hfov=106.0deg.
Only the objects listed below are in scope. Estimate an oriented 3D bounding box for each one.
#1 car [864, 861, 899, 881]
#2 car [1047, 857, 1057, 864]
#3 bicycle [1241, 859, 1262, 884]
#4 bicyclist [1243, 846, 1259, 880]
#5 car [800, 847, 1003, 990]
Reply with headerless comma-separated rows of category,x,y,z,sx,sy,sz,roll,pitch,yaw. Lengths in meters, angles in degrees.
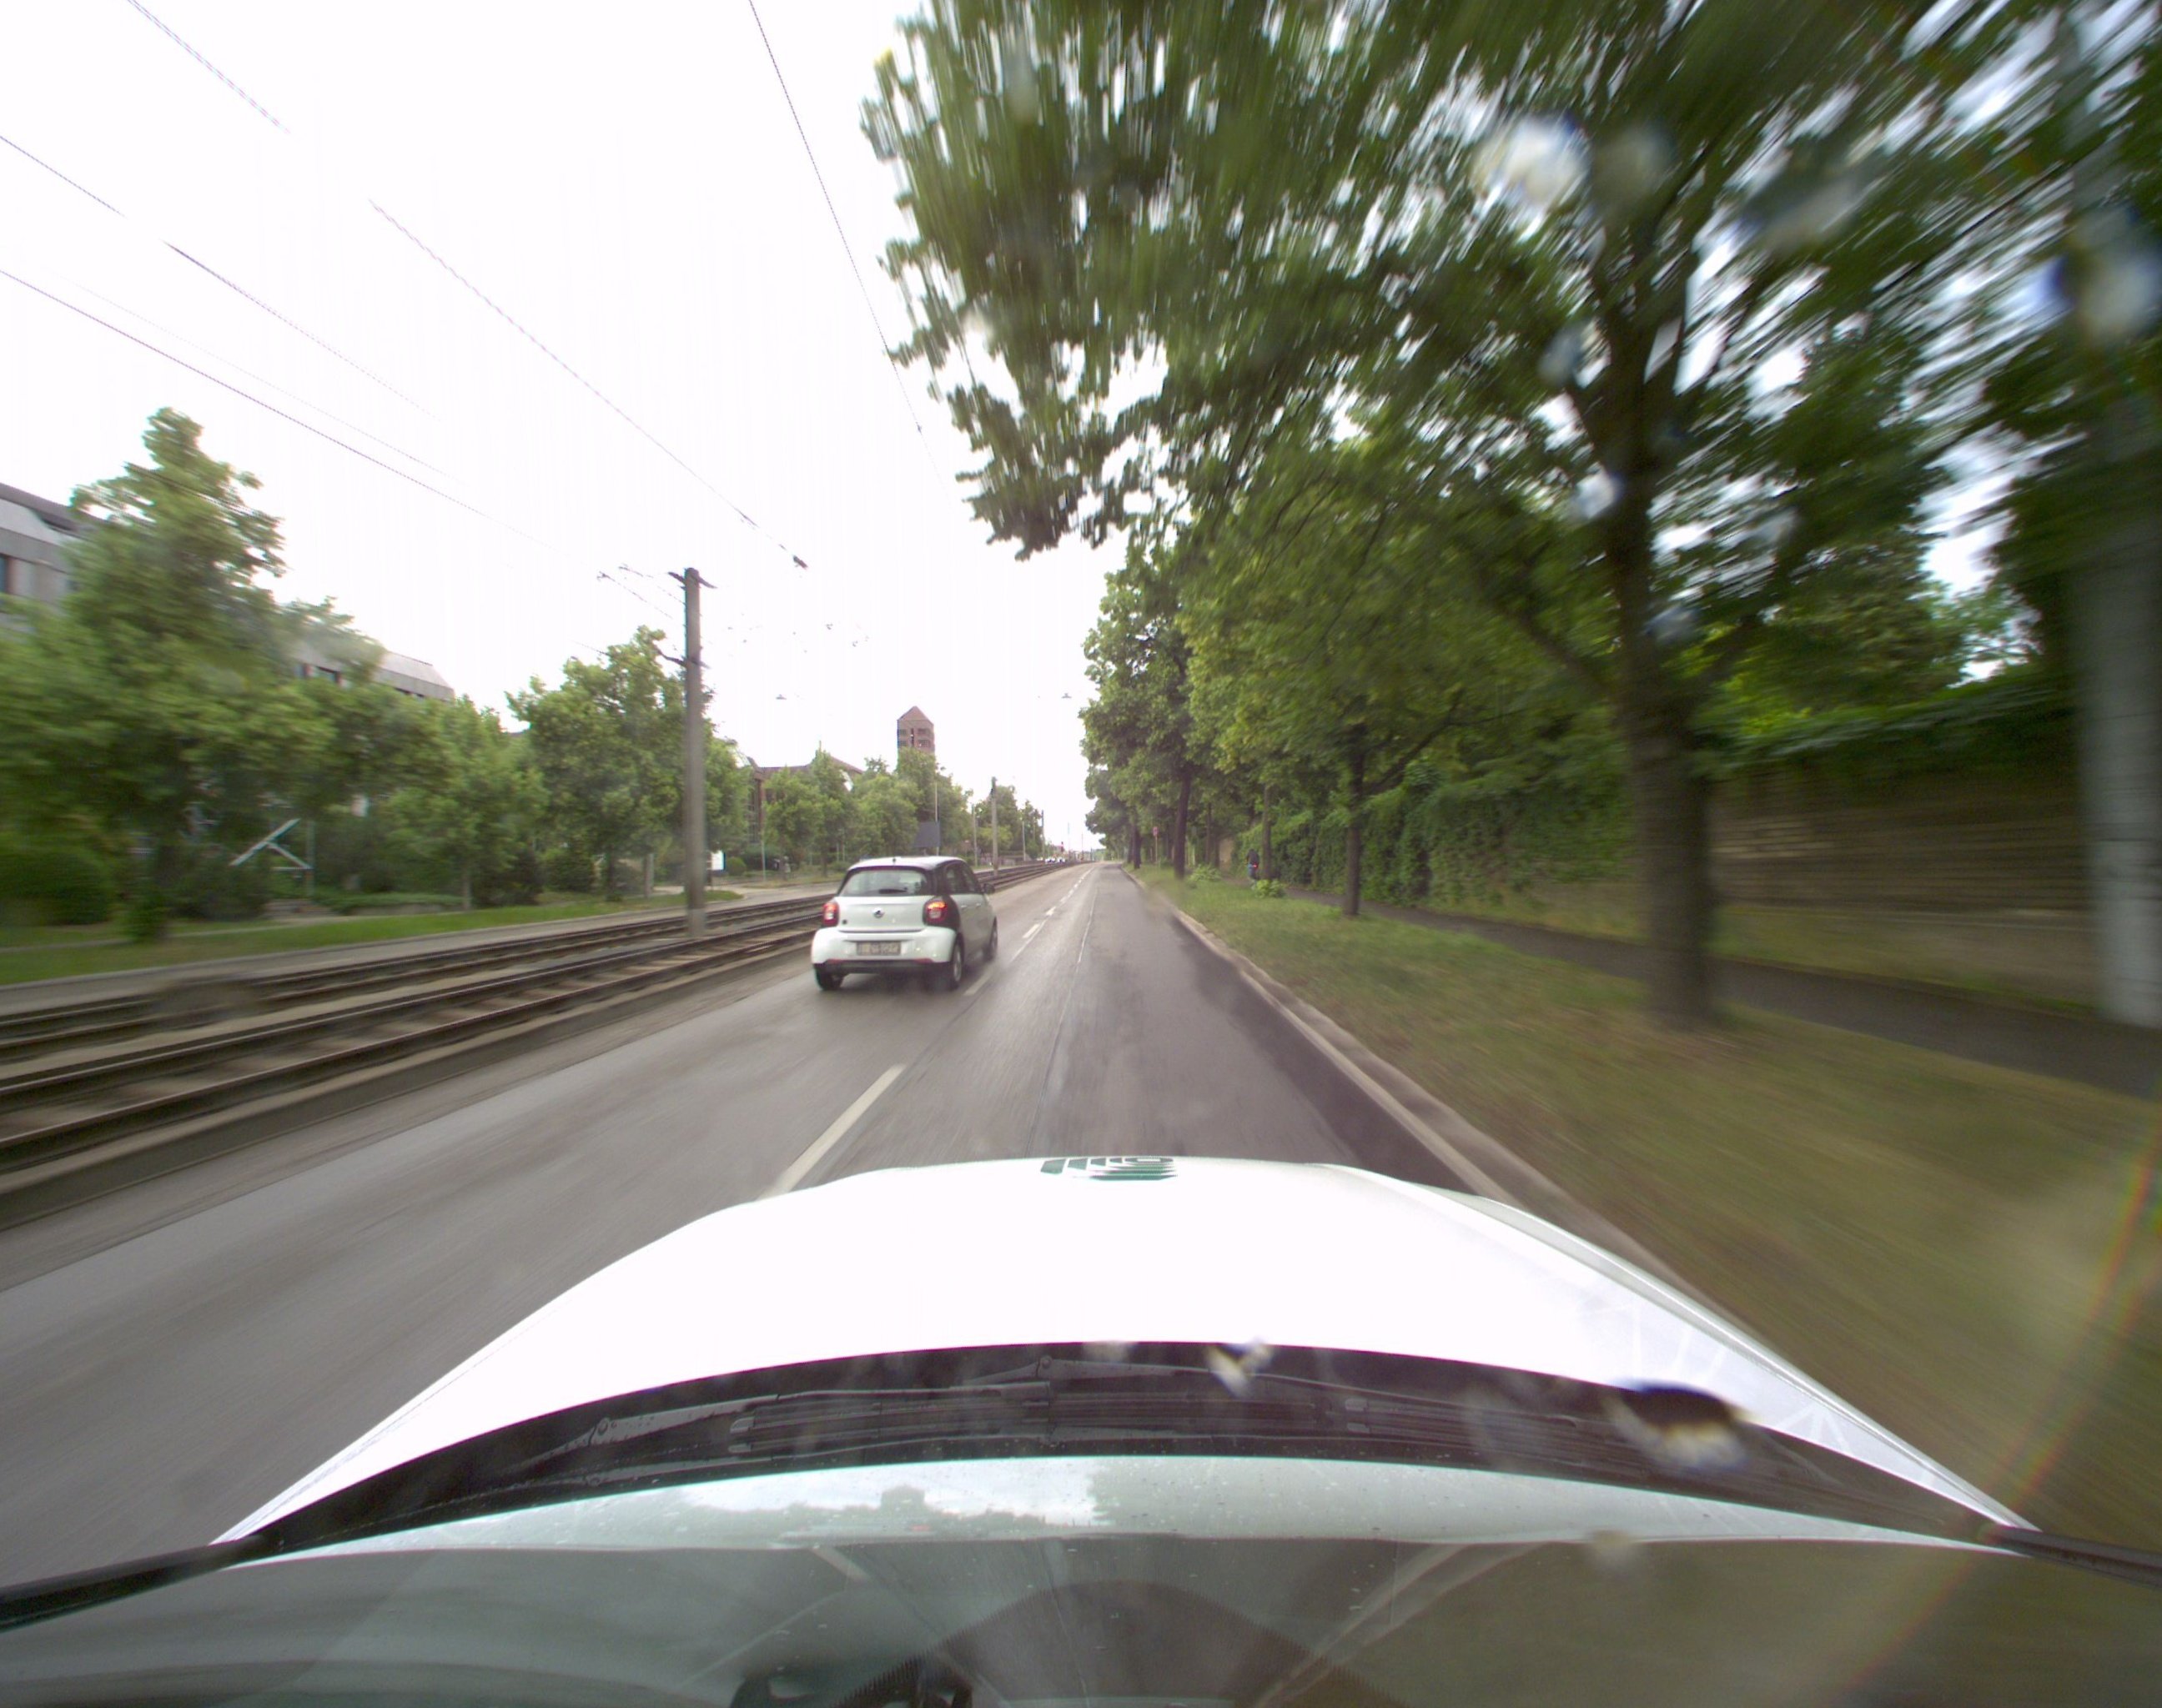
car,-17.117,1.414,70.024,1.788,1.530,4.622,-2,0,0
car,-7.638,1.752,218.290,2.003,1.656,4.624,-2,0,6
bicycle,7.091,0.705,33.995,0.540,0.948,2.553,-2,0,5
bicyclist,7.090,0.389,34.041,0.532,1.389,0.667,-2,0,4
car,-2.163,0.712,10.875,1.669,1.531,3.724,-2,0,3
